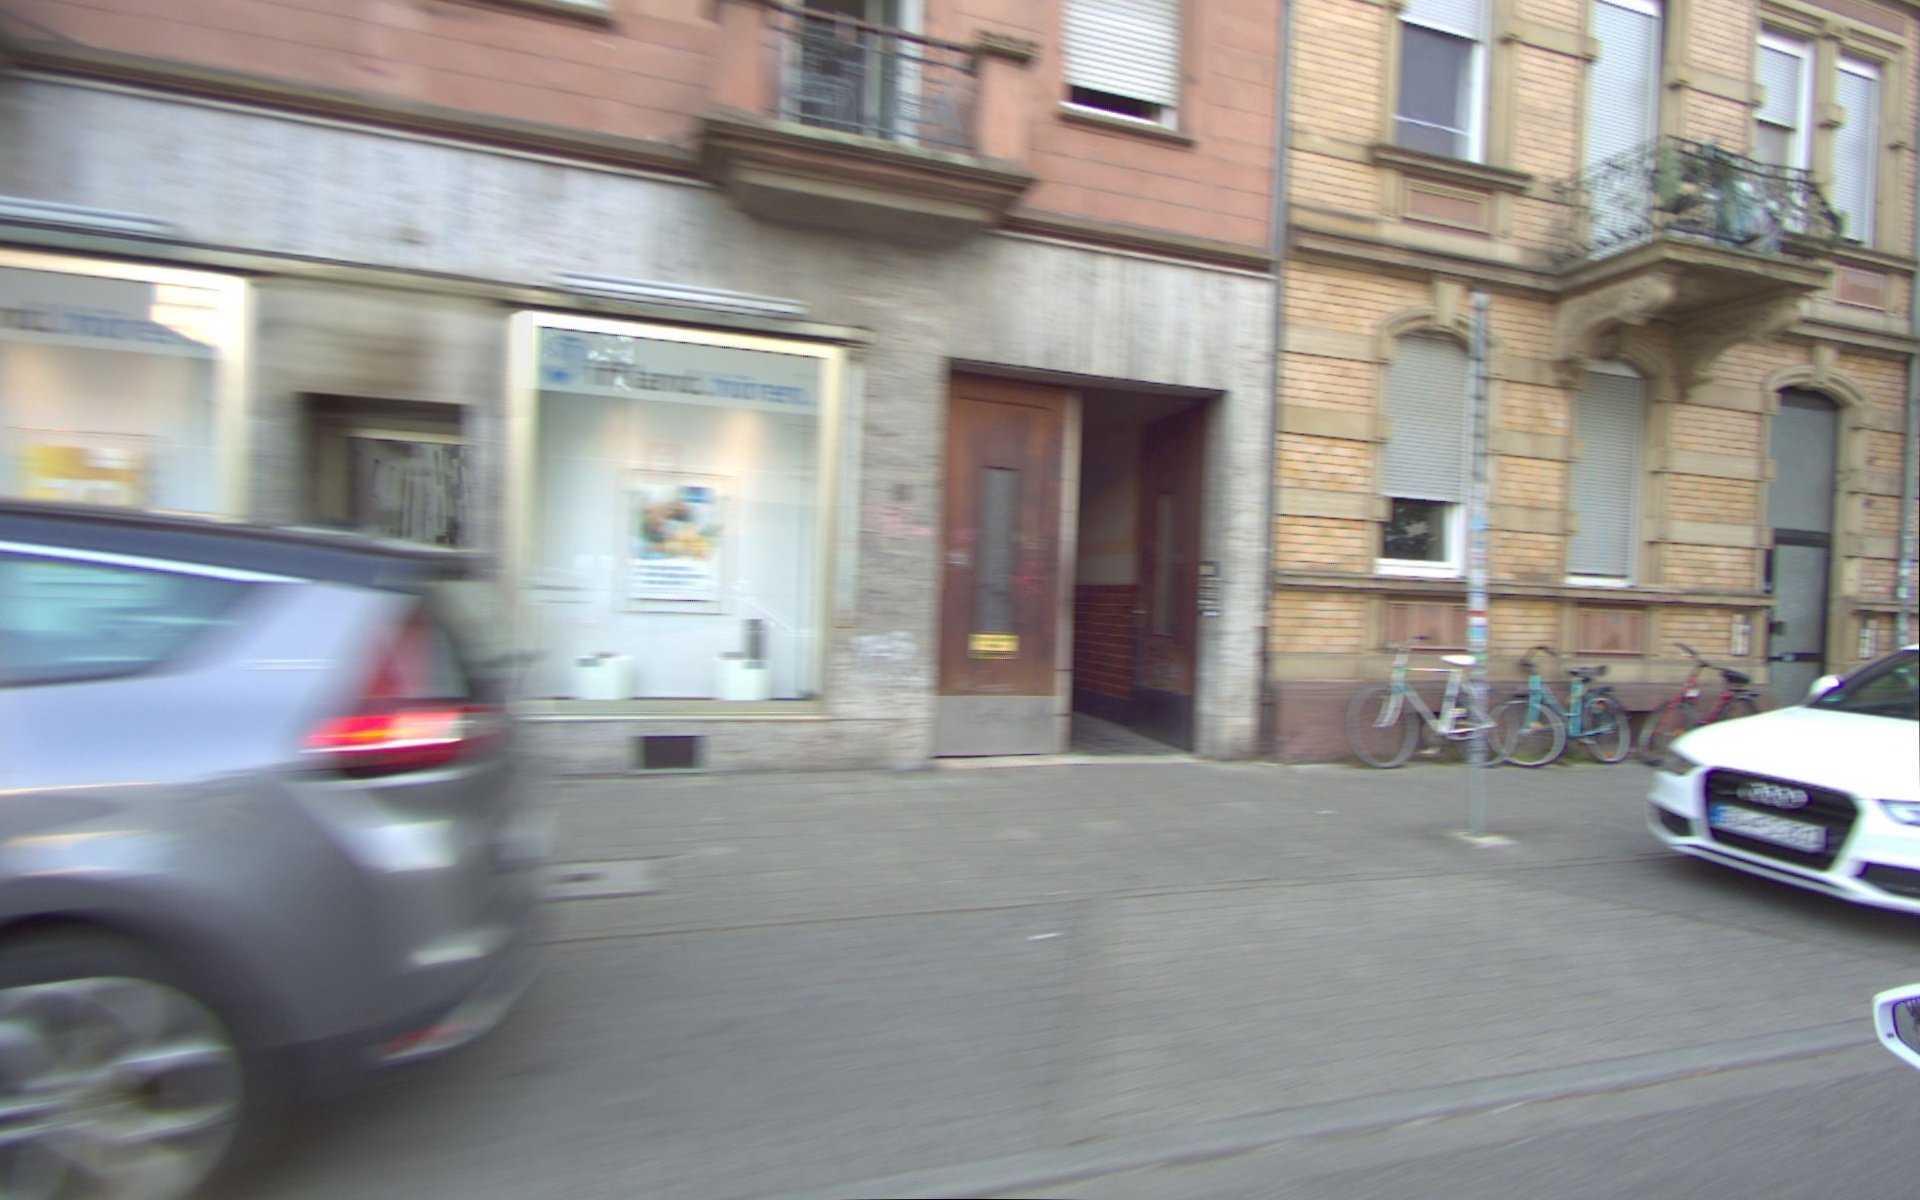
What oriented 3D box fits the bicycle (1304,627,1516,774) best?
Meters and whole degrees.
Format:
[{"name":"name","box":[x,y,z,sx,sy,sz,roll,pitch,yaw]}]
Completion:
[{"name":"bicycle","box":[3.808,0.831,8.493,1.703,1.147,0.515,2,1,-19]}]

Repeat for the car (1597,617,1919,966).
[{"name":"car","box":[6.081,0.905,5.652,4.437,1.431,1.756,2,2,-18]}]

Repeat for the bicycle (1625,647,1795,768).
[{"name":"bicycle","box":[7.147,0.992,9.566,1.602,1.041,0.590,2,1,-26]}]

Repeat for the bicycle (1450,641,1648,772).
[{"name":"bicycle","box":[5.213,0.924,8.891,1.599,1.050,0.564,2,1,-19]}]

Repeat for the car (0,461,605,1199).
[{"name":"car","box":[-3.243,0.497,2.447,4.375,1.655,1.851,2,2,-18]}]
